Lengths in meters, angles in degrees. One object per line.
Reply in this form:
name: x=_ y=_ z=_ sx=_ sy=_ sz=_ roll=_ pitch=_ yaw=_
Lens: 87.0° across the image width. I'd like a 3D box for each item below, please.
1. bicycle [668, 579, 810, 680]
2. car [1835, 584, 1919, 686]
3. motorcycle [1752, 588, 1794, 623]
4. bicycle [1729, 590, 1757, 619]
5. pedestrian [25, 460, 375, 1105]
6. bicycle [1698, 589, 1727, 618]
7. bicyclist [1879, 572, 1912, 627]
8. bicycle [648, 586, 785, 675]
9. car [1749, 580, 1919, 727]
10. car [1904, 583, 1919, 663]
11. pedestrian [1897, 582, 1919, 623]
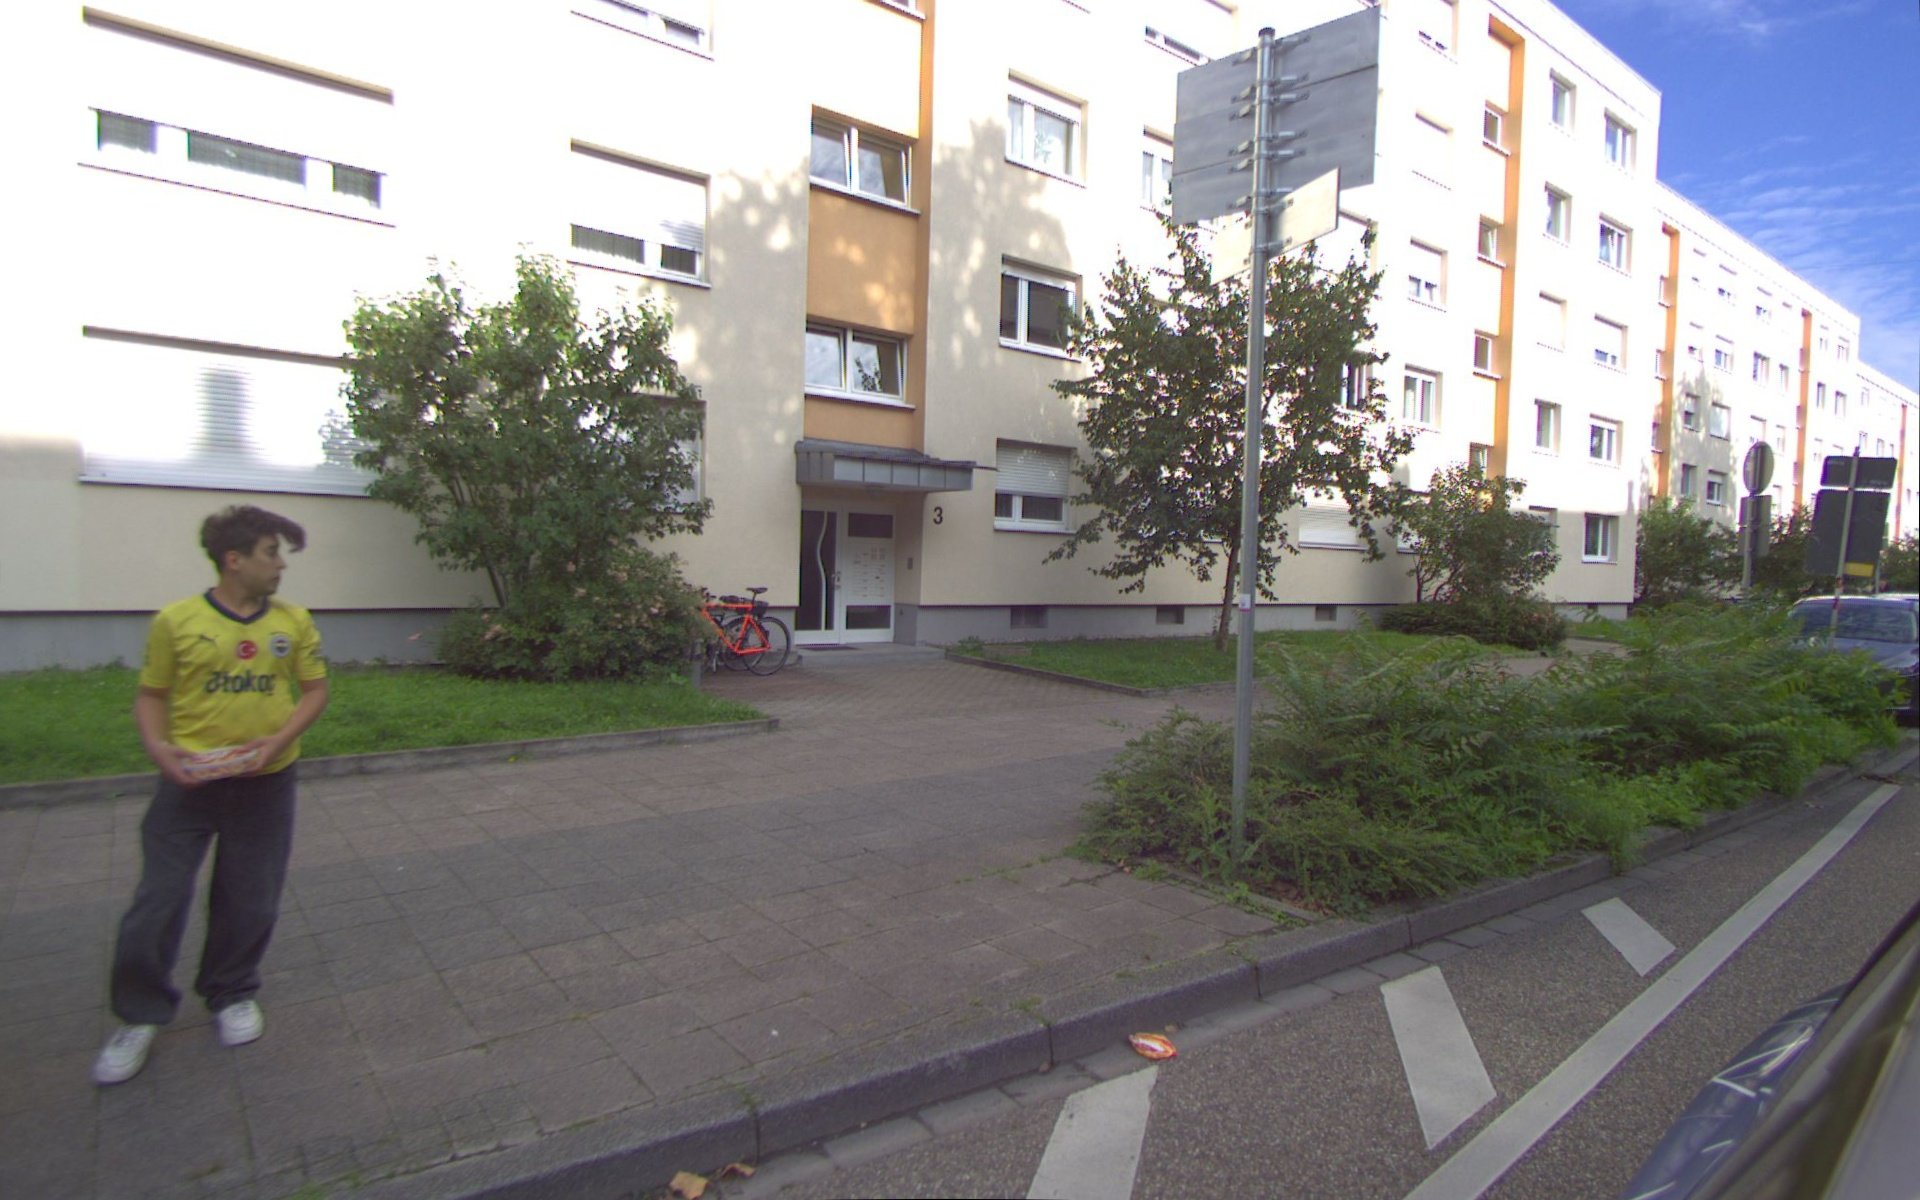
bicycle: x=-2.487 y=0.308 z=11.508 sx=1.527 sy=1.069 sz=0.522 roll=0 pitch=2 yaw=-44
car: x=16.371 y=0.546 z=17.033 sx=4.160 sy=1.547 sz=1.695 roll=0 pitch=2 yaw=-38
motorcycle: x=26.735 y=0.171 z=33.279 sx=2.352 sy=1.057 sz=0.632 roll=0 pitch=4 yaw=-42
bicycle: x=26.616 y=0.152 z=34.389 sx=1.490 sy=0.953 sz=0.459 roll=0 pitch=3 yaw=-42
pedestrian: x=-2.171 y=0.423 z=2.910 sx=0.730 sy=1.557 sz=0.654 roll=0 pitch=3 yaw=-41
bicycle: x=26.013 y=0.111 z=34.964 sx=1.490 sy=0.938 sz=0.459 roll=0 pitch=3 yaw=-42
bicyclist: x=29.099 y=-0.024 z=31.488 sx=0.877 sy=1.698 sz=0.624 roll=0 pitch=2 yaw=-41
bicycle: x=-2.848 y=0.327 z=11.929 sx=1.527 sy=0.975 sz=0.478 roll=0 pitch=2 yaw=-44
car: x=11.640 y=0.571 z=12.941 sx=4.165 sy=1.547 sz=1.693 roll=0 pitch=3 yaw=-42
car: x=20.817 y=0.496 z=20.886 sx=3.408 sy=1.576 sz=1.554 roll=0 pitch=4 yaw=-41
pedestrian: x=41.034 y=0.098 z=43.767 sx=0.757 sy=1.743 sz=0.544 roll=0 pitch=2 yaw=-35
